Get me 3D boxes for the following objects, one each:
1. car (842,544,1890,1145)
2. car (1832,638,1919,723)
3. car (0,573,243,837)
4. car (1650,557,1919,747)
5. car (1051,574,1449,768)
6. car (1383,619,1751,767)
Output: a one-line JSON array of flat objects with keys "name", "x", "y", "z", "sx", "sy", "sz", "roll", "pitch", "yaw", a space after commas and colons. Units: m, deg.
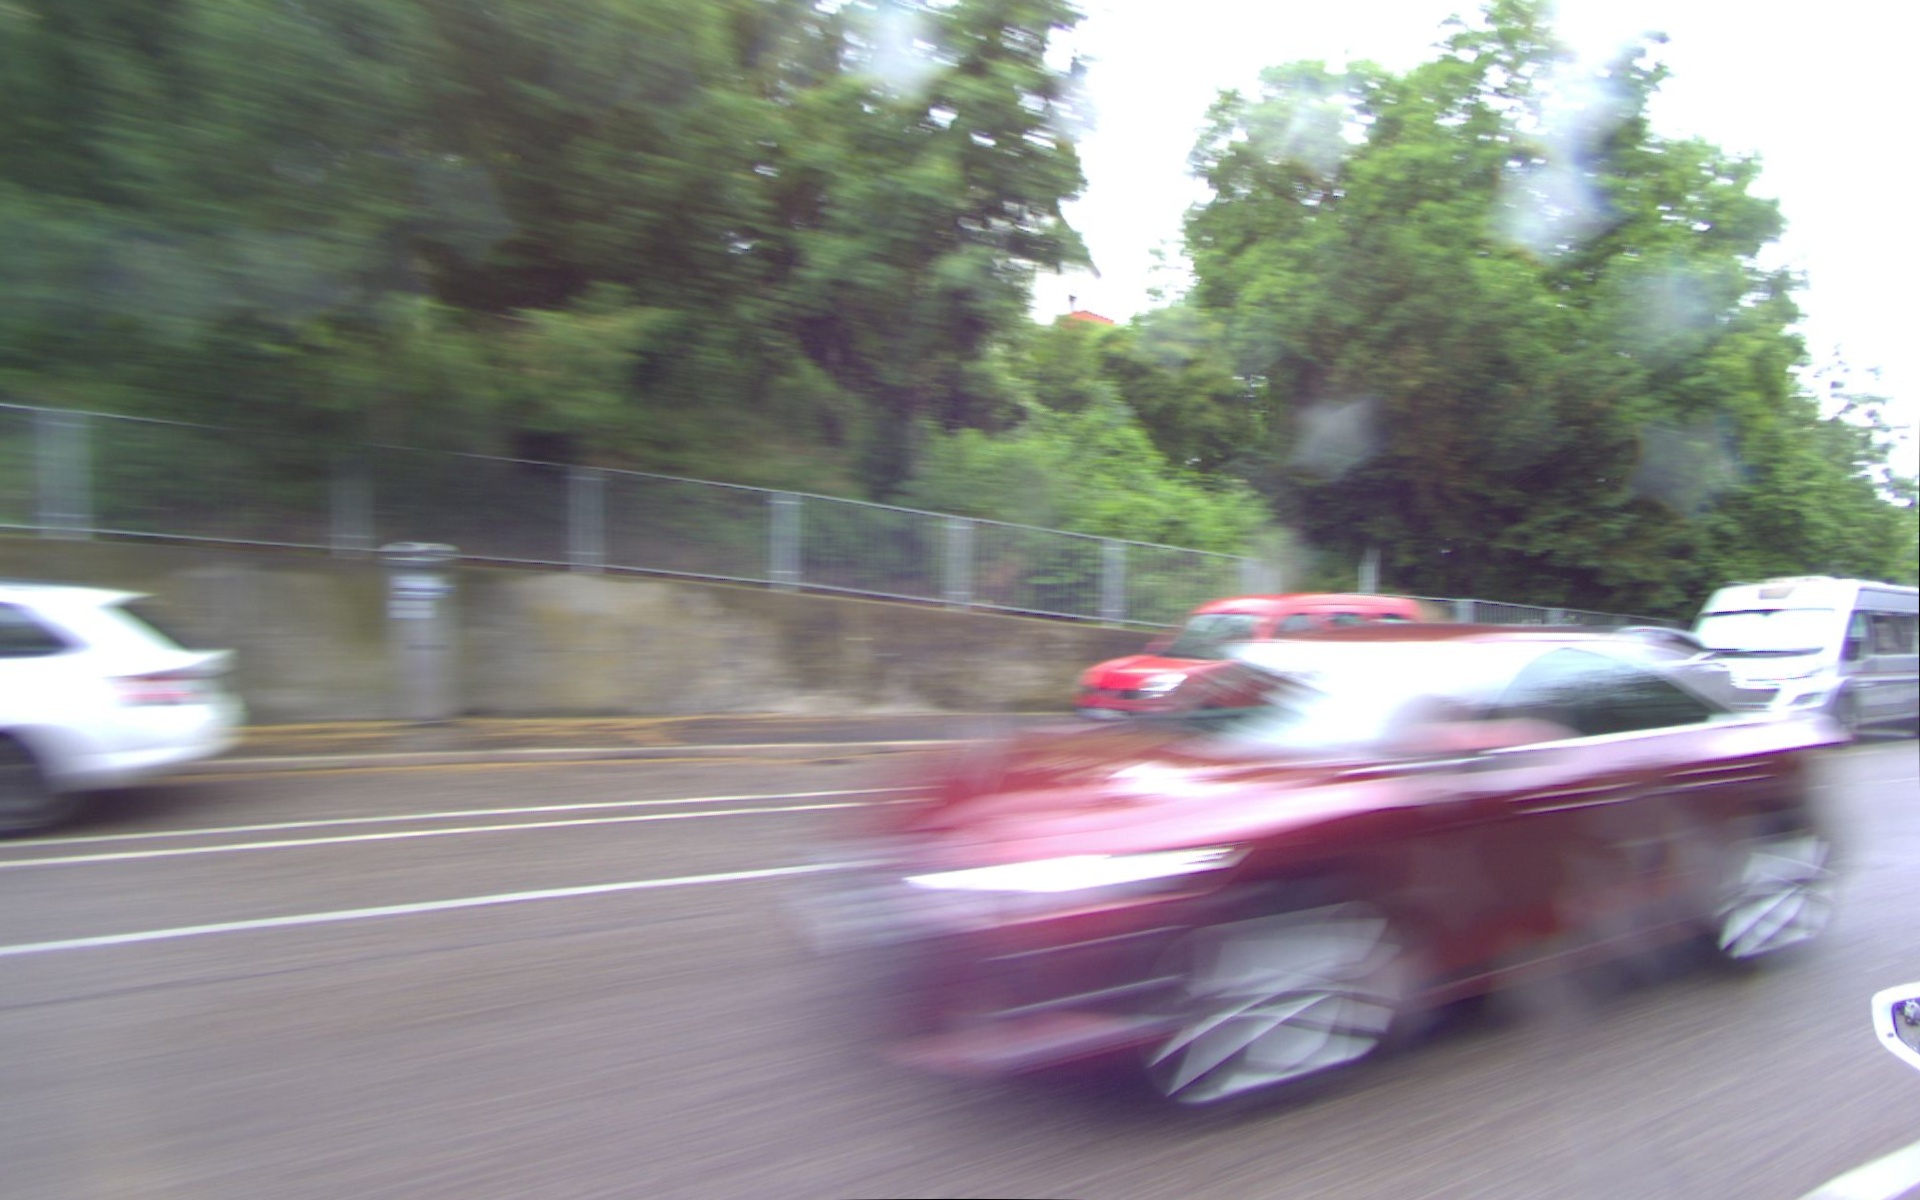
[{"name": "car", "x": 1.892, "y": 0.754, "z": 4.448, "sx": 4.427, "sy": 1.536, "sz": 1.861, "roll": 3, "pitch": -3, "yaw": -27}, {"name": "car", "x": 19.374, "y": 1.640, "z": 20.698, "sx": 1.786, "sy": 1.603, "sz": 4.000, "roll": -6, "pitch": -7, "yaw": 44}, {"name": "car", "x": -6.838, "y": 0.568, "z": 5.871, "sx": 4.150, "sy": 1.499, "sz": 1.729, "roll": 1, "pitch": 1, "yaw": -31}, {"name": "car", "x": 13.792, "y": 0.819, "z": 16.258, "sx": 6.280, "sy": 2.582, "sz": 2.062, "roll": 1, "pitch": -4, "yaw": -34}, {"name": "car", "x": 3.203, "y": 0.761, "z": 11.008, "sx": 4.082, "sy": 1.791, "sz": 1.745, "roll": 2, "pitch": -2, "yaw": -26}, {"name": "car", "x": 7.884, "y": 1.079, "z": 13.049, "sx": 4.336, "sy": 1.641, "sz": 1.989, "roll": 0, "pitch": -1, "yaw": -24}]
